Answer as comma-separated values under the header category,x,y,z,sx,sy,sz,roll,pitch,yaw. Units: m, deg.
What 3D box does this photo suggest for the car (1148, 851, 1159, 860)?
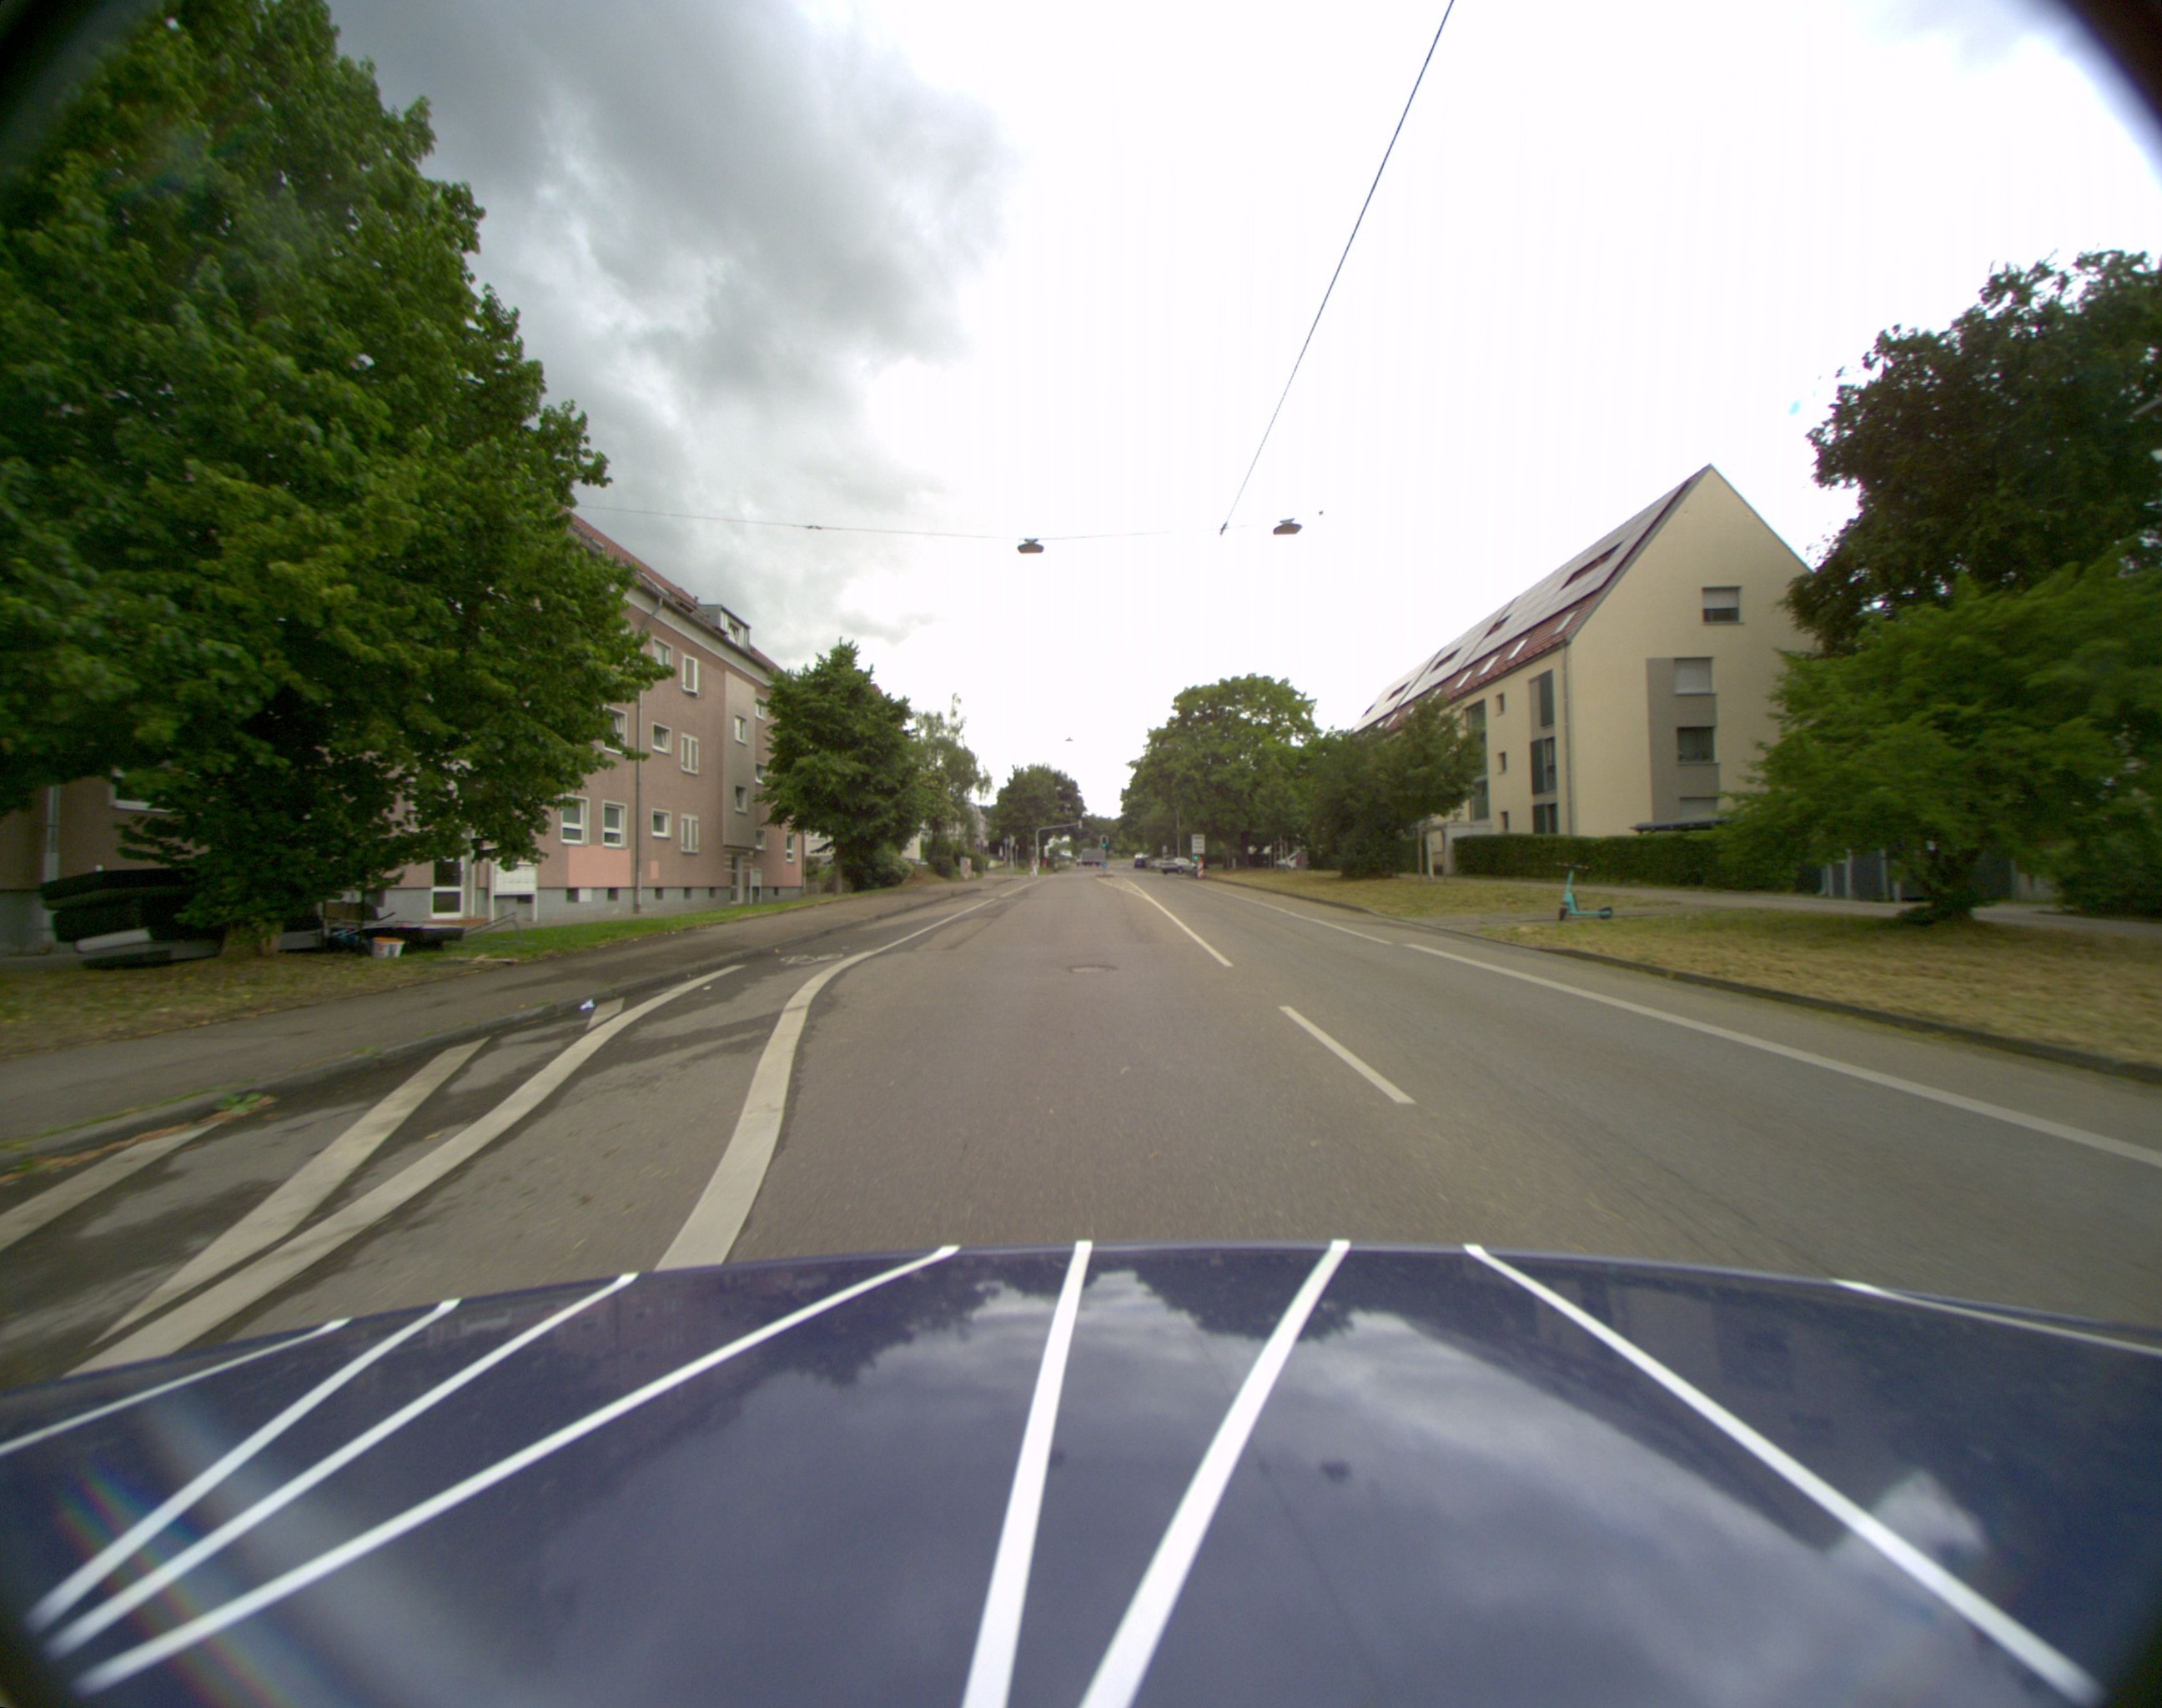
category,x,y,z,sx,sy,sz,roll,pitch,yaw
car,11.359,0.296,119.103,1.604,1.346,4.000,-2,0,2

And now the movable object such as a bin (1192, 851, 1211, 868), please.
category,x,y,z,sx,sy,sz,roll,pitch,yaw
movable object such as a bin,14.424,0.635,91.191,1.099,1.892,3.246,-2,0,-13

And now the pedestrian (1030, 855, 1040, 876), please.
category,x,y,z,sx,sy,sz,roll,pitch,yaw
pedestrian,-3.699,0.957,61.214,0.658,1.675,0.575,1,-1,2

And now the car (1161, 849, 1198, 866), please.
category,x,y,z,sx,sy,sz,roll,pitch,yaw
car,9.044,0.322,69.429,1.802,1.455,4.038,1,0,32

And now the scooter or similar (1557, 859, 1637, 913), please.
category,x,y,z,sx,sy,sz,roll,pitch,yaw
scooter or similar,10.641,0.645,15.691,1.374,1.080,0.466,-1,1,-3

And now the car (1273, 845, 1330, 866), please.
category,x,y,z,sx,sy,sz,roll,pitch,yaw
car,22.287,0.130,76.772,5.152,1.906,2.000,-2,0,1

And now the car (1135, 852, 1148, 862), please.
category,x,y,z,sx,sy,sz,roll,pitch,yaw
car,10.376,0.474,129.544,1.997,1.674,4.002,-2,0,7
